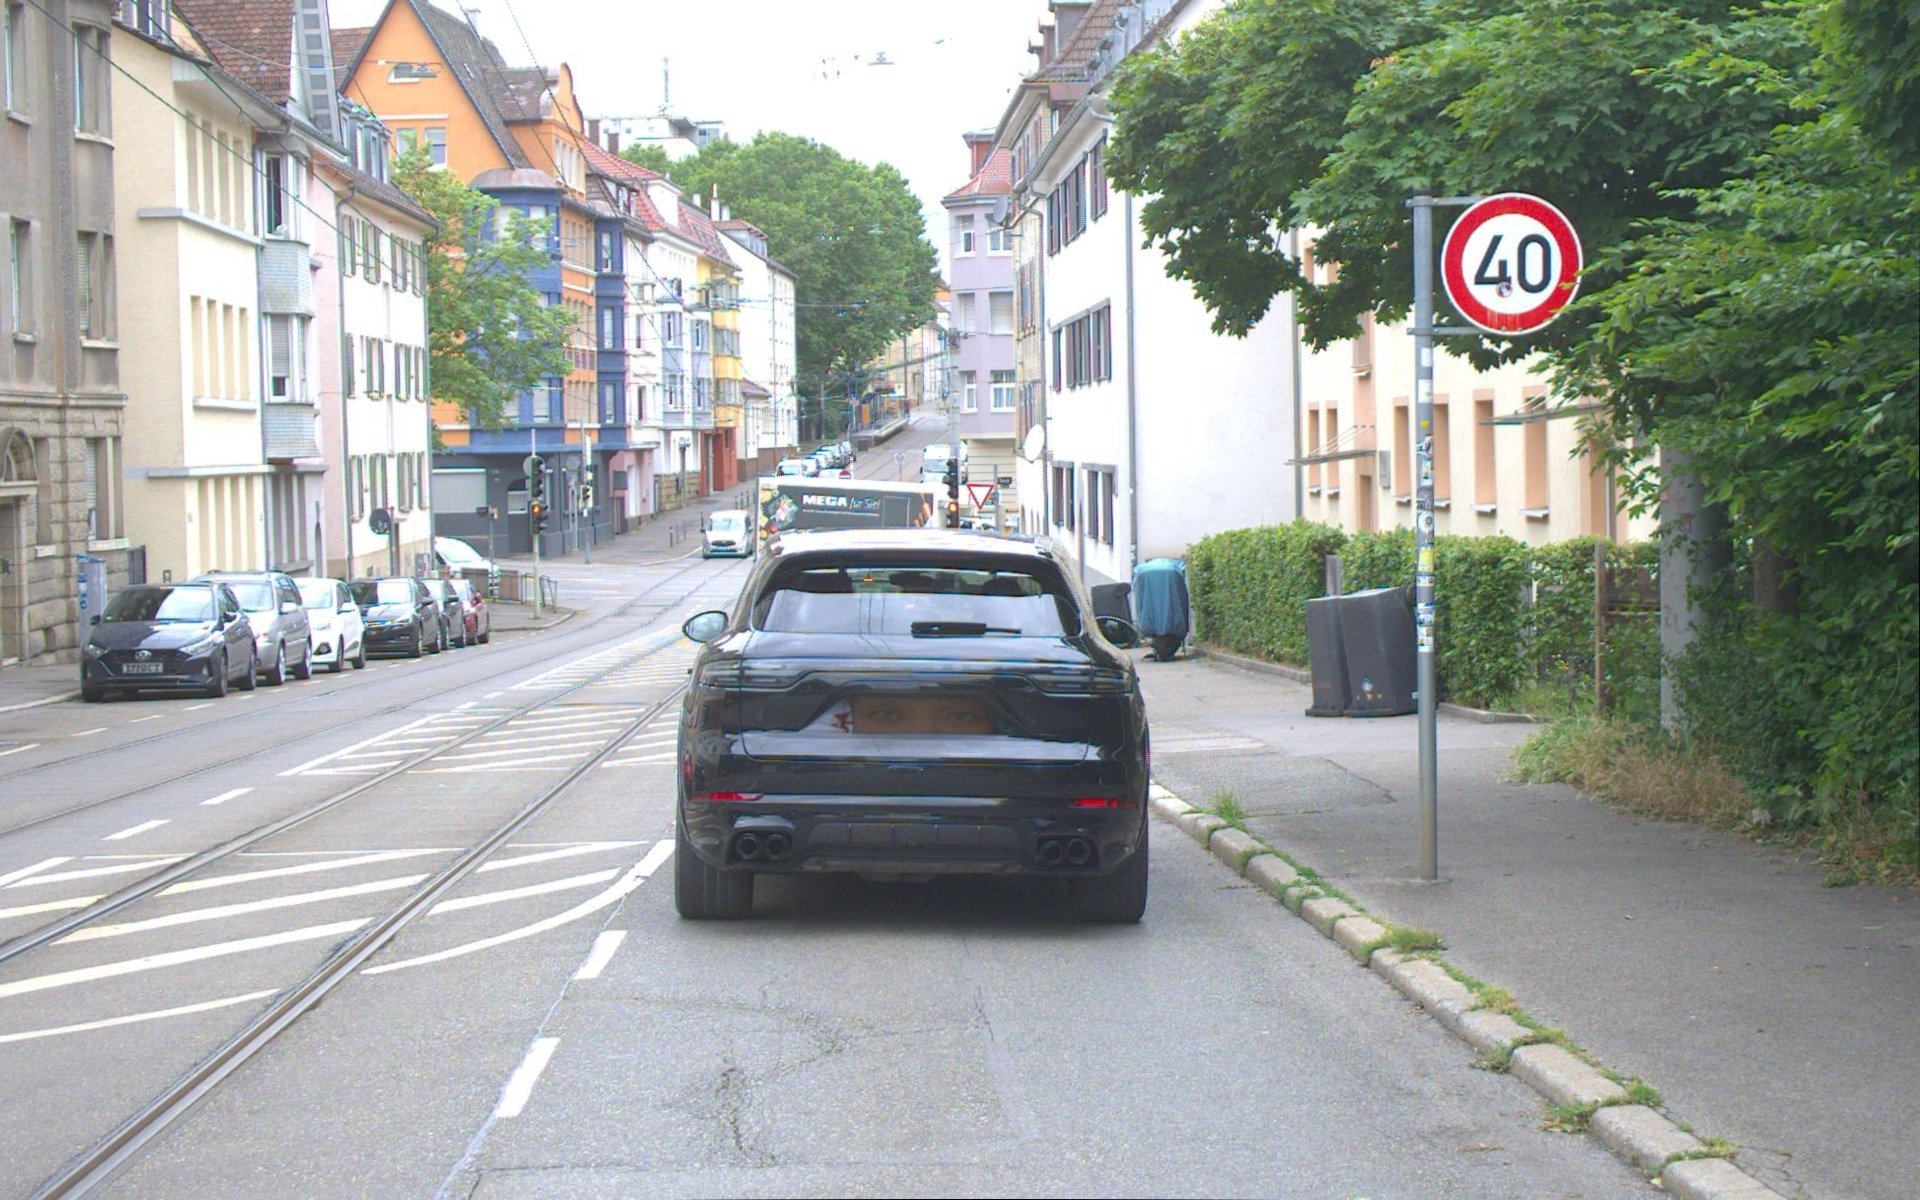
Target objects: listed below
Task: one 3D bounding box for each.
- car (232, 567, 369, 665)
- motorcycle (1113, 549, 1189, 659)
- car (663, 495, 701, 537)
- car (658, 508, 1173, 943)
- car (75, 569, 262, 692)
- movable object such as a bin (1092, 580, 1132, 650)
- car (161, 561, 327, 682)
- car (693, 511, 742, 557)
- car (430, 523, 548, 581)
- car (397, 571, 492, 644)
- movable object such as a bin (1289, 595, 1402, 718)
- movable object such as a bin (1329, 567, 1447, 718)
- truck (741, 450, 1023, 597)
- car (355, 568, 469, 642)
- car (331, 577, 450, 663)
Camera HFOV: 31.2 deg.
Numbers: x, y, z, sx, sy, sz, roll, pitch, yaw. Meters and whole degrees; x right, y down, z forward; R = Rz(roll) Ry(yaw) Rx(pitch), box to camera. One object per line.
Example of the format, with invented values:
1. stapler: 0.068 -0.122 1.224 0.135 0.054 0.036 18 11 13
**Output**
1. car: -10.454 0.257 54.690 1.620 1.458 3.685 -2 0 -3
2. motorcycle: 2.603 0.047 47.132 0.838 1.452 2.553 -1 0 -1
3. car: -11.980 -3.622 148.157 1.394 1.716 3.359 -1 0 -1
4. car: -0.246 0.481 15.474 1.993 1.670 4.000 -1 0 -2
5. car: -10.060 0.381 43.939 1.620 1.458 4.033 -2 0 -3
6. movable object such as a bin: 2.379 0.231 53.868 0.588 1.076 0.692 -1 0 0
7. car: -10.110 0.303 48.773 1.620 1.599 4.351 -2 0 -3
8. car: -9.808 -2.656 139.258 1.751 1.754 4.254 -1 0 -1
9. car: -15.383 -1.549 112.188 1.921 1.812 4.216 -1 0 -38
10. car: -11.193 0.172 74.808 1.620 1.485 4.047 -2 0 -3
11. movable object such as a bin: 3.250 0.471 29.023 0.792 1.008 0.789 -1 0 -5
12. movable object such as a bin: 3.513 0.341 28.239 0.792 1.214 0.789 -1 0 -5
13. truck: -2.425 -2.270 104.916 8.577 4.167 2.256 -1 -2 28
14. car: -10.939 0.089 68.849 1.736 1.405 4.000 -1 0 -2
15. car: -10.391 0.369 62.940 1.620 1.468 4.556 -2 0 -3
